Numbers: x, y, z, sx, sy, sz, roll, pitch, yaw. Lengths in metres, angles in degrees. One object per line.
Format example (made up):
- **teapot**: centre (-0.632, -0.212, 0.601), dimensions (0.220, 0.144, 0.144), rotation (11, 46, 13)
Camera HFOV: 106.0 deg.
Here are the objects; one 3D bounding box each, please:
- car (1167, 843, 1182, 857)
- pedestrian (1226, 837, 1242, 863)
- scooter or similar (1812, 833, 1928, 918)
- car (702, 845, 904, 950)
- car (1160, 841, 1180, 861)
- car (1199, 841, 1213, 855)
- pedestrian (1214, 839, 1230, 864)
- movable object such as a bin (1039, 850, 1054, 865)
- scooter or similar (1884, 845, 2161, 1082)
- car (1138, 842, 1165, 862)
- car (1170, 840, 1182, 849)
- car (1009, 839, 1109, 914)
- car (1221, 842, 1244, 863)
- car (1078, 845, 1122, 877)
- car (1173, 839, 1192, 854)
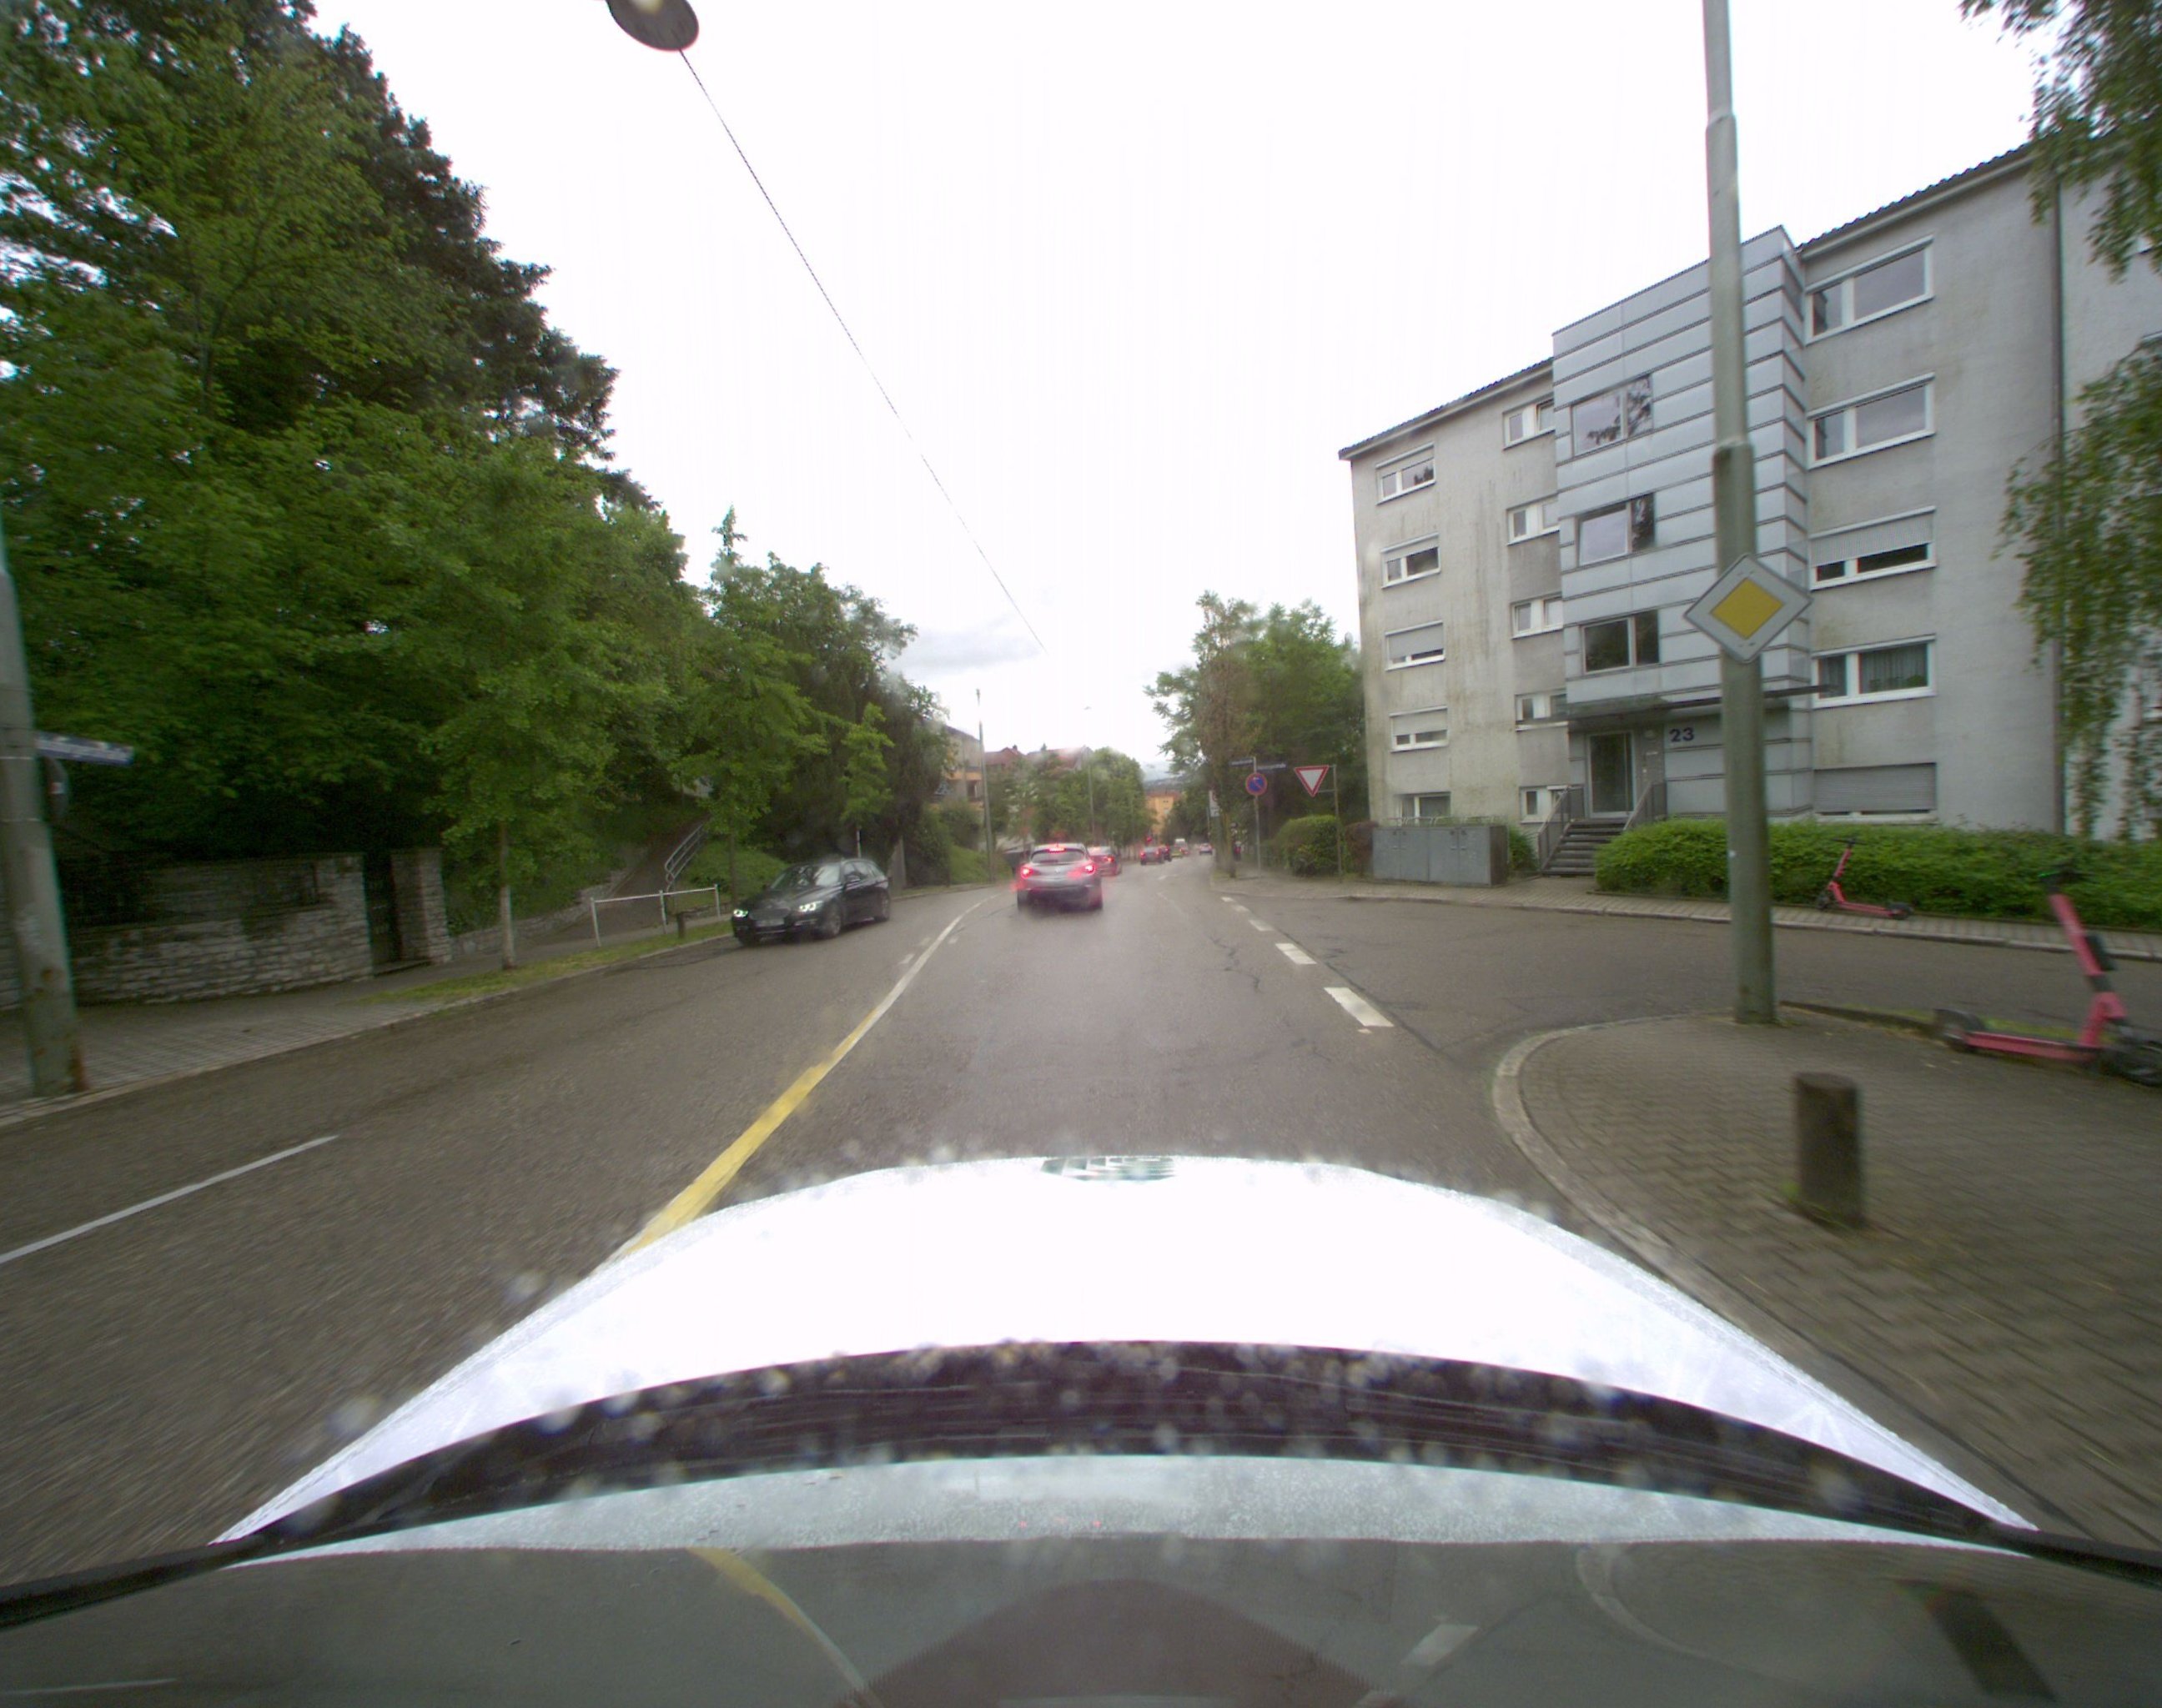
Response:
- **car**: centre (11.580, -0.514, 100.358), dimensions (1.744, 1.651, 4.009), rotation (-1, 0, 8)
- **pedestrian**: centre (11.184, -0.307, 59.540), dimensions (0.667, 1.836, 0.683), rotation (-6, 0, -25)
- **scooter or similar**: centre (12.305, 0.305, 12.736), dimensions (0.499, 1.183, 1.192), rotation (-8, 8, -32)
- **car**: centre (-5.274, 0.738, 16.239), dimensions (1.902, 1.584, 4.594), rotation (-7, 0, 5)
- **car**: centre (8.428, -0.319, 77.085), dimensions (1.759, 1.781, 3.986), rotation (-1, 1, 8)
- **car**: centre (18.652, -0.935, 121.386), dimensions (1.981, 2.036, 4.749), rotation (-1, 1, 10)
- **pedestrian**: centre (10.311, -0.190, 59.520), dimensions (0.736, 1.723, 0.761), rotation (-6, 0, -16)
- **movable object such as a bin**: centre (-3.223, 0.334, 76.417), dimensions (1.265, 1.387, 0.490), rotation (-3, 1, 7)
- **scooter or similar**: centre (5.720, 0.590, 4.983), dimensions (0.341, 1.254, 1.268), rotation (-1, -1, 1)
- **car**: centre (5.682, -0.183, 65.514), dimensions (1.950, 1.472, 3.960), rotation (-1, 1, 8)
- **car**: centre (19.476, -1.911, 166.795), dimensions (1.981, 1.784, 4.012), rotation (-1, 1, 10)
- **car**: centre (-0.390, 0.431, 18.748), dimensions (1.937, 1.431, 3.887), rotation (-4, 1, 3)
- **car**: centre (11.458, -0.095, 61.802), dimensions (1.495, 1.435, 4.010), rotation (-5, -1, 8)
- **car**: centre (0.970, 0.284, 39.093), dimensions (1.789, 1.323, 4.005), rotation (-3, 1, 4)
- **car**: centre (14.113, -1.040, 113.301), dimensions (2.319, 2.036, 4.749), rotation (-1, 1, 10)
